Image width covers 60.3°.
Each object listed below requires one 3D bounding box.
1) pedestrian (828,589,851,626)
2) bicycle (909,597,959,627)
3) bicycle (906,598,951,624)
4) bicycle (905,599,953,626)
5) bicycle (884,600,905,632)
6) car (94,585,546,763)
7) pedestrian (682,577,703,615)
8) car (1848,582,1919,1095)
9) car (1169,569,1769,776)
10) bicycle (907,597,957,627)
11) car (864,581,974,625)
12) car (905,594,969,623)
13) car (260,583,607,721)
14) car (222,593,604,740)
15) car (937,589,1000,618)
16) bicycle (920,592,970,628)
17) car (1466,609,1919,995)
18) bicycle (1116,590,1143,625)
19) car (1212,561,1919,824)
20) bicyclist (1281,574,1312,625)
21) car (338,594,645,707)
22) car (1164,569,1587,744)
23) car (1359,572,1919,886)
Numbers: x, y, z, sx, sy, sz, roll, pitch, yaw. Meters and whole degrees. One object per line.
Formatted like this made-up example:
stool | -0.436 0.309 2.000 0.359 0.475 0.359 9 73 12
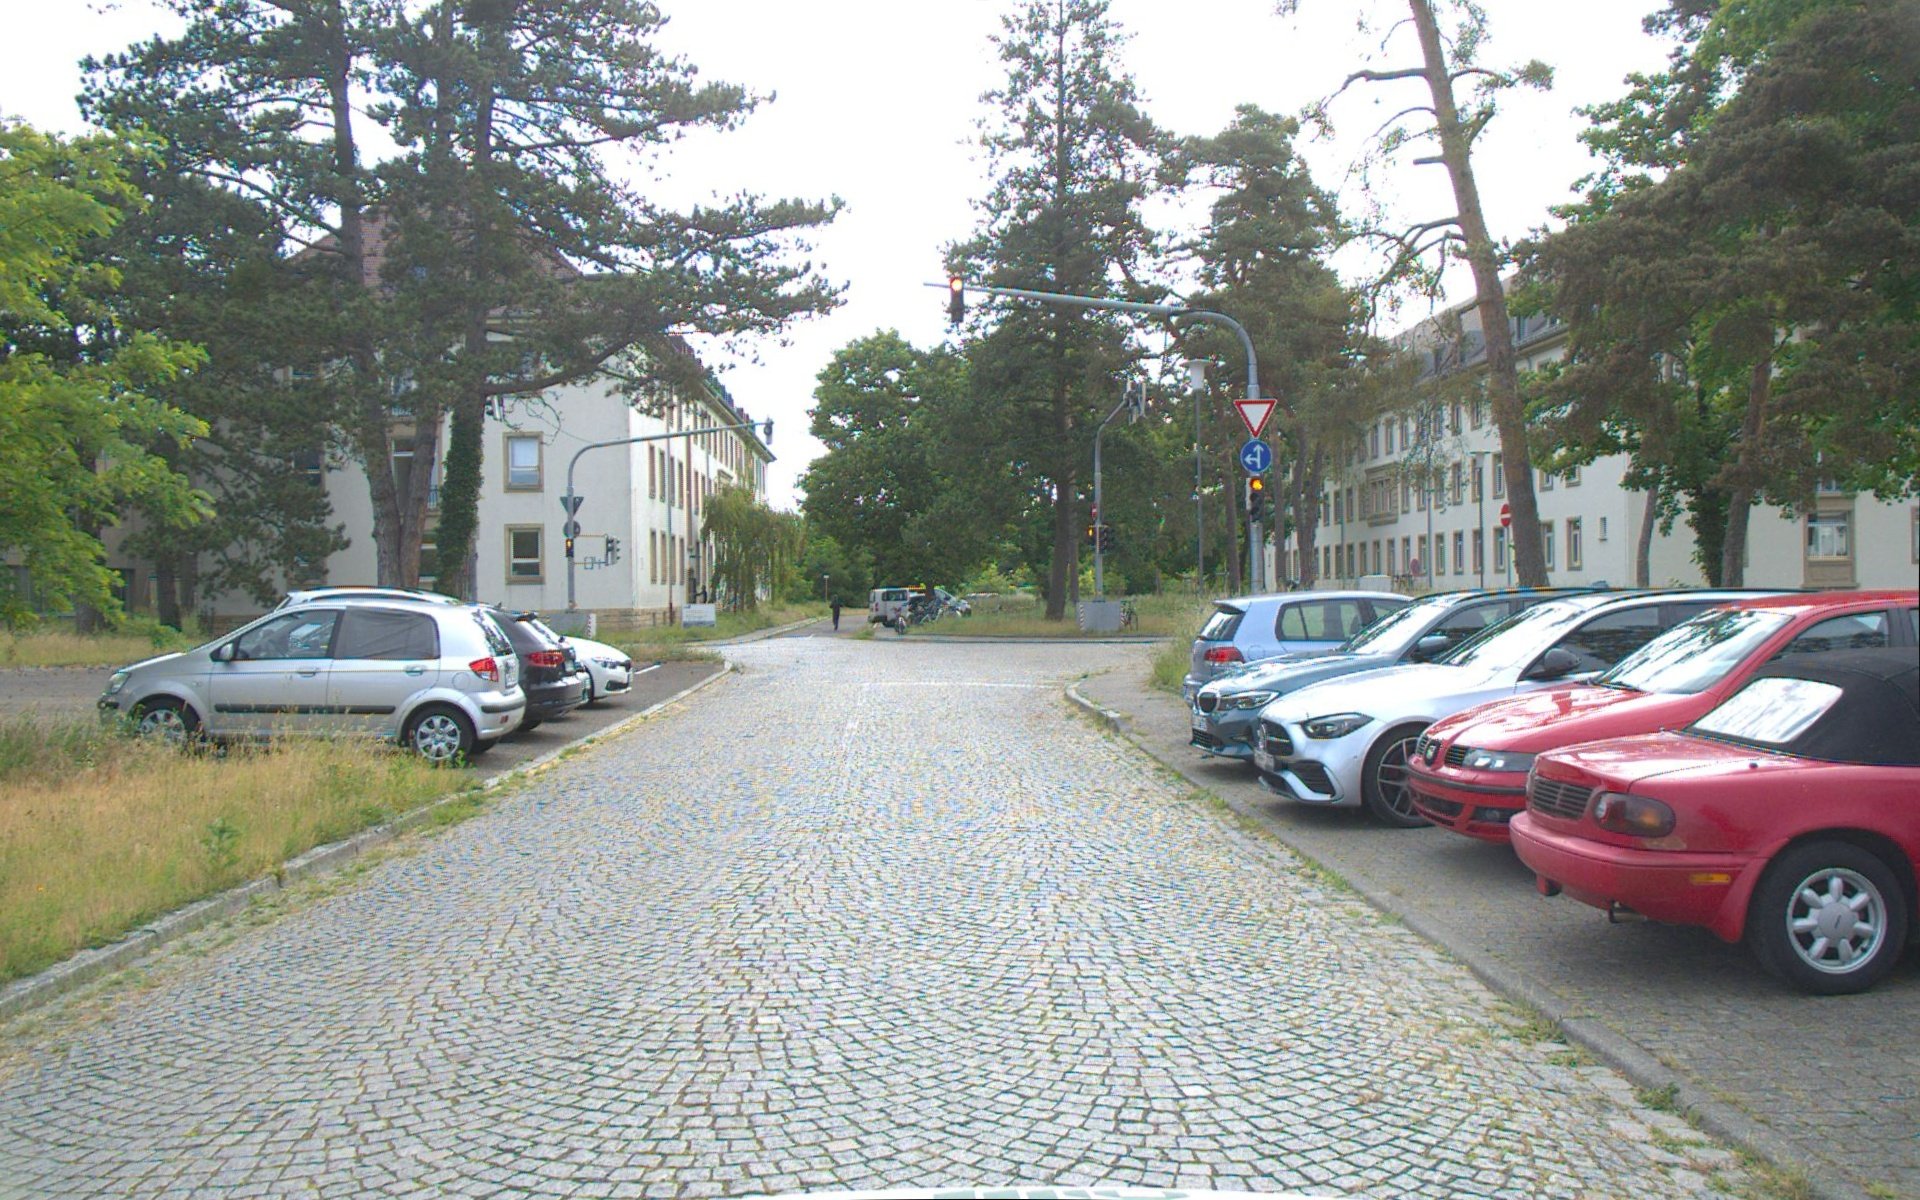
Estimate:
pedestrian | -5.428 0.318 74.489 0.732 1.646 0.767 -1 0 -34
bicycle | -1.020 0.461 65.498 1.919 1.152 0.587 -1 0 -9
bicycle | -1.386 0.473 72.638 1.932 1.088 0.583 -1 0 -27
bicycle | -1.265 0.504 67.605 1.936 1.088 0.581 -1 0 -32
bicycle | -2.472 0.601 62.238 0.591 1.152 1.958 -1 0 -8
car | -5.910 0.669 15.615 3.631 1.505 1.581 2 0 -5
pedestrian | -13.059 -0.194 80.732 0.767 1.869 0.732 -1 0 -34
car | 4.707 0.613 4.348 3.786 1.497 1.757 -3 0 -4
car | 4.298 0.575 14.402 4.590 1.441 1.869 -3 0 -5
bicycle | -1.105 0.483 66.128 1.919 1.136 0.587 -1 0 -9
car | -2.074 0.128 83.546 5.266 1.958 2.019 -3 0 -11
car | -1.136 0.407 80.214 2.949 1.290 1.532 -1 0 -8
car | -6.567 0.639 20.973 3.871 1.590 1.648 2 0 -5
car | -5.912 0.703 18.214 3.673 1.453 1.581 2 0 -5
car | 0.458 0.183 87.536 3.169 1.441 1.723 -1 0 -5
bicycle | -0.608 0.389 66.980 1.919 1.408 0.587 -1 0 -9
car | 4.324 0.694 6.961 3.786 1.257 1.757 -3 0 -4
bicycle | 5.502 0.232 53.658 0.574 1.125 1.960 -1 0 -2
car | 4.186 0.569 11.709 4.344 1.441 1.866 -3 0 -11
bicyclist | 9.564 -0.010 47.051 0.734 1.435 0.605 -1 0 -2
car | -6.576 0.690 23.510 3.869 1.446 1.649 2 0 -3
car | 4.131 0.540 16.848 3.847 1.503 1.642 -3 0 -1
car | 4.636 0.624 9.459 4.177 1.441 1.870 -3 0 -3
